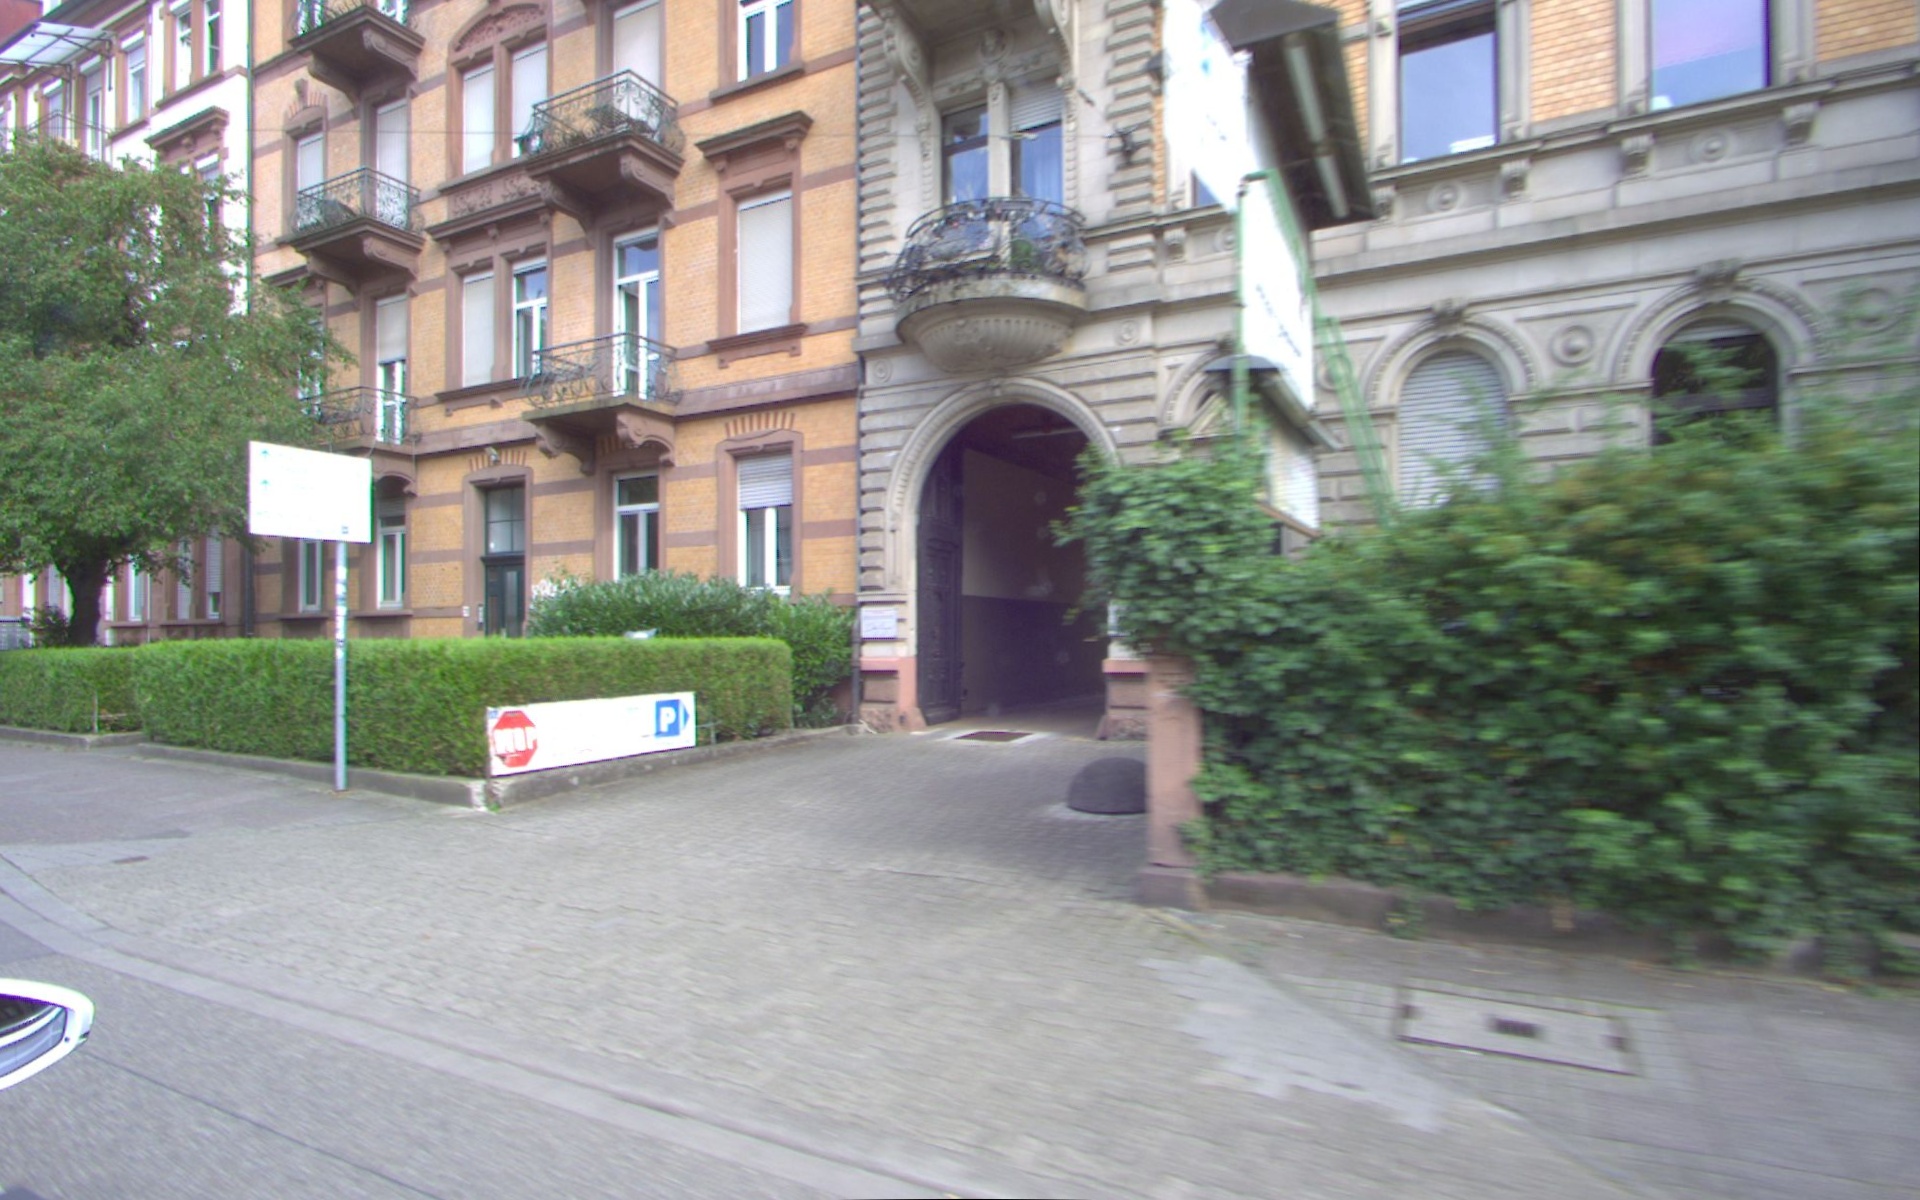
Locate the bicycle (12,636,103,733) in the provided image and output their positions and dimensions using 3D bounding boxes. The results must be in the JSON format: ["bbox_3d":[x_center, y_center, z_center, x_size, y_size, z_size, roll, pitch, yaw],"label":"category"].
[{"bbox_3d":[-12.650,1.151,14.027,1.527,1.298,0.515,-1,-1,31],"label":"bicycle"}]

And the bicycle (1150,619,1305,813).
[{"bbox_3d":[2.272,0.835,8.212,0.758,1.328,2.624,-1,-2,25],"label":"bicycle"}]

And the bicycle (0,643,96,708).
[{"bbox_3d":[-15.360,1.240,16.573,0.502,1.021,1.545,-1,-1,26],"label":"bicycle"}]
